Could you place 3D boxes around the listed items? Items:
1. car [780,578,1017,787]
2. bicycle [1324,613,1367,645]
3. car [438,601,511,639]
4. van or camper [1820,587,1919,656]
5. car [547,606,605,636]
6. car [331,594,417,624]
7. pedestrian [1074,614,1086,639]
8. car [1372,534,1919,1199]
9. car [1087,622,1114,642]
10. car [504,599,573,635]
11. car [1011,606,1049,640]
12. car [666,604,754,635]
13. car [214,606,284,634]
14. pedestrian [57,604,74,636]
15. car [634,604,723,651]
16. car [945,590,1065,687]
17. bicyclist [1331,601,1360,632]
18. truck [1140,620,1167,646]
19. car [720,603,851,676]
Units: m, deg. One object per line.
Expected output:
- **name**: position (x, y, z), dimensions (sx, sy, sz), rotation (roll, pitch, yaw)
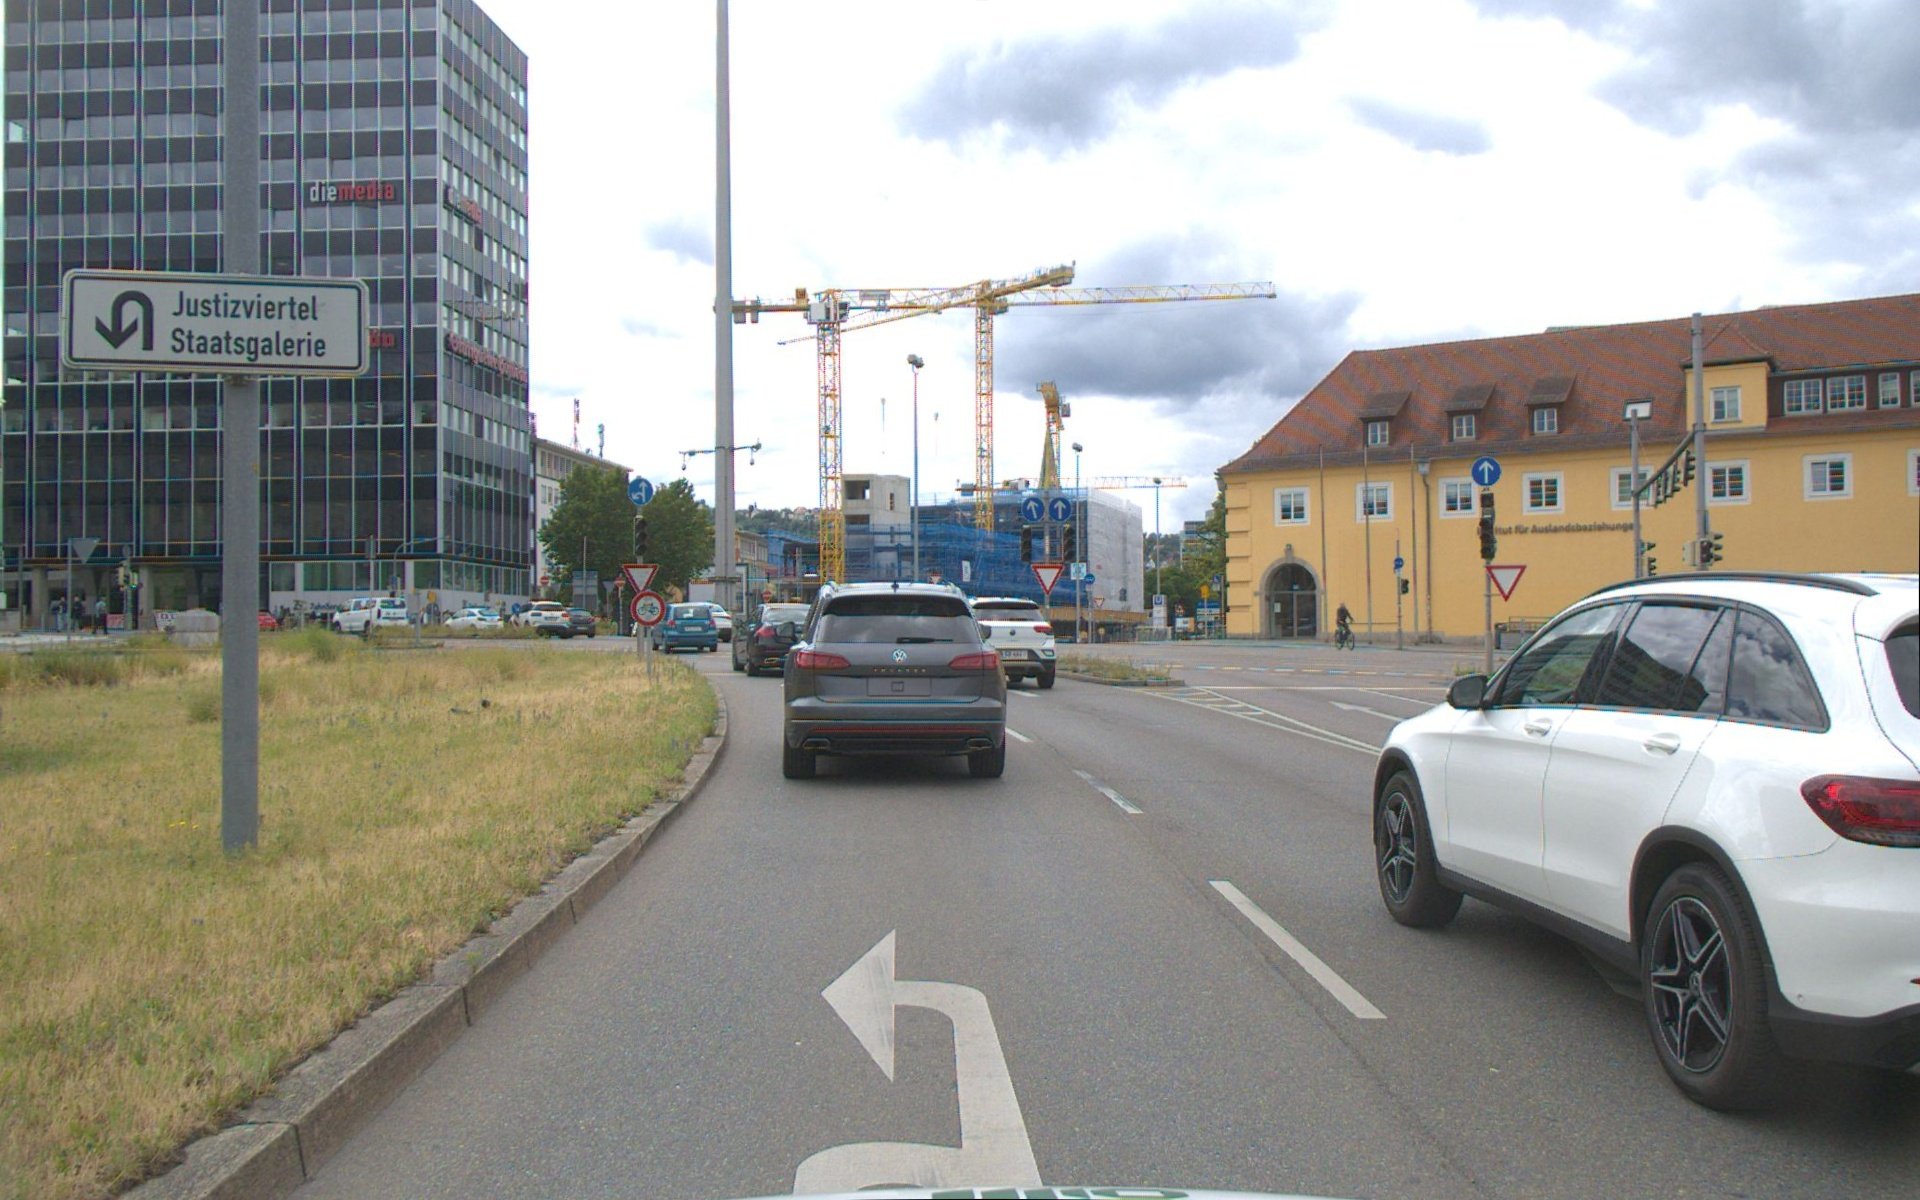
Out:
- **car**: position (-0.603, 0.654, 15.312), dimensions (1.894, 1.676, 3.997), rotation (0, 0, -3)
- **bicycle**: position (15.002, 1.132, 64.483), dimensions (0.905, 1.179, 2.462), rotation (1, 0, -5)
- **car**: position (-26.162, 1.046, 89.088), dimensions (3.927, 1.638, 1.891), rotation (5, 6, 40)
- **van or camper**: position (29.329, 0.654, 49.822), dimensions (5.903, 2.049, 2.012), rotation (0, 0, 36)
- **car**: position (-18.830, 1.010, 80.934), dimensions (1.626, 1.421, 3.555), rotation (1, 0, -34)
- **car**: position (-31.524, 0.471, 88.901), dimensions (4.519, 1.529, 2.243), rotation (1, 0, 36)
- **pedestrian**: position (6.500, 1.440, 89.633), dimensions (0.537, 1.304, 0.463), rotation (1, 0, 15)
- **car**: position (3.119, 0.661, 6.369), dimensions (1.782, 1.676, 4.376), rotation (0, 0, -3)
- **car**: position (11.695, 2.648, 137.592), dimensions (1.764, 1.529, 3.984), rotation (0, 0, 11)
- **car**: position (-18.766, 0.732, 73.523), dimensions (1.799, 1.522, 3.859), rotation (0, 0, -34)
- **car**: position (3.280, 1.075, 77.976), dimensions (1.765, 1.529, 3.982), rotation (0, 0, 2)
- **car**: position (-9.762, 0.758, 64.327), dimensions (1.658, 1.159, 4.015), rotation (0, 0, -38)
- **car**: position (-40.835, 1.156, 94.984), dimensions (3.893, 1.529, 1.721), rotation (1, 0, 29)
- **pedestrian**: position (-44.961, 1.009, 83.140), dimensions (0.618, 1.621, 0.582), rotation (1, -1, -40)
- **car**: position (-8.725, 0.833, 51.110), dimensions (1.769, 1.380, 4.039), rotation (0, 0, -24)
- **car**: position (0.747, 0.647, 29.941), dimensions (1.856, 1.613, 3.798), rotation (0, 0, -3)
- **bicyclist**: position (15.011, 0.626, 64.483), dimensions (0.905, 1.179, 0.724), rotation (1, 0, -5)
- **truck**: position (19.708, 3.341, 168.494), dimensions (2.082, 2.496, 4.831), rotation (0, 0, 15)
- **car**: position (-3.629, 0.762, 33.755), dimensions (1.766, 1.380, 4.046), rotation (0, 0, -20)
